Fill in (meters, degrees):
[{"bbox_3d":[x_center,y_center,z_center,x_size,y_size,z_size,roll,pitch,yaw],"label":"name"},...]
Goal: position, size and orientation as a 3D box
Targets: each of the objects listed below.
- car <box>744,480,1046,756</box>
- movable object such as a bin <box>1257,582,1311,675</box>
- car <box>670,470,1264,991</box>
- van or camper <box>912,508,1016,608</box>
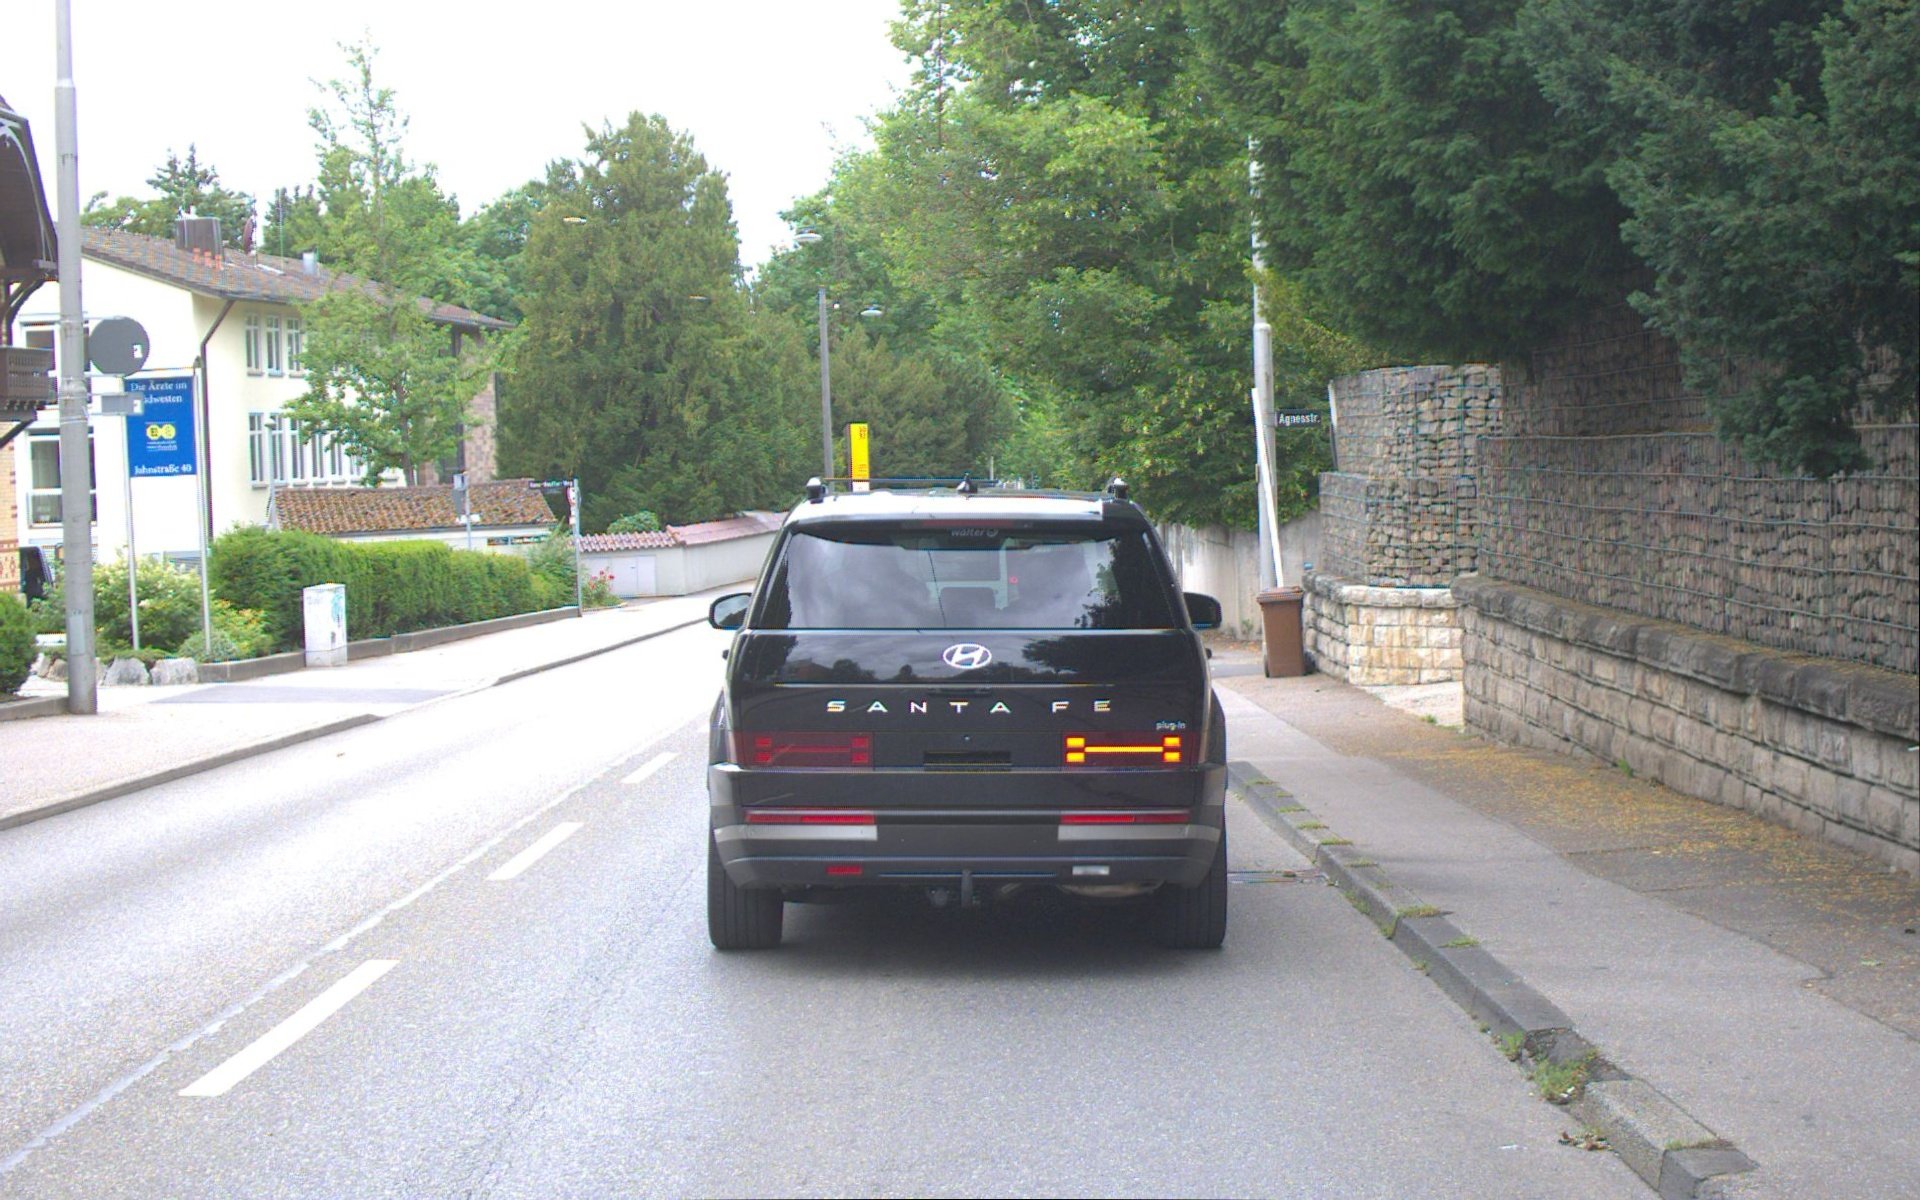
[{"bbox_3d":[-0.592,0.083,26.720,1.956,1.949,4.224,1,1,-6],"label":"car"},{"bbox_3d":[3.312,0.289,35.130,0.445,0.907,0.394,-4,0,10],"label":"movable object such as a bin"},{"bbox_3d":[0.039,0.385,13.625,1.957,1.707,4.223,1,1,0],"label":"car"},{"bbox_3d":[0.121,-0.953,75.926,1.676,2.000,3.937,-2,3,9],"label":"van or camper"}]
